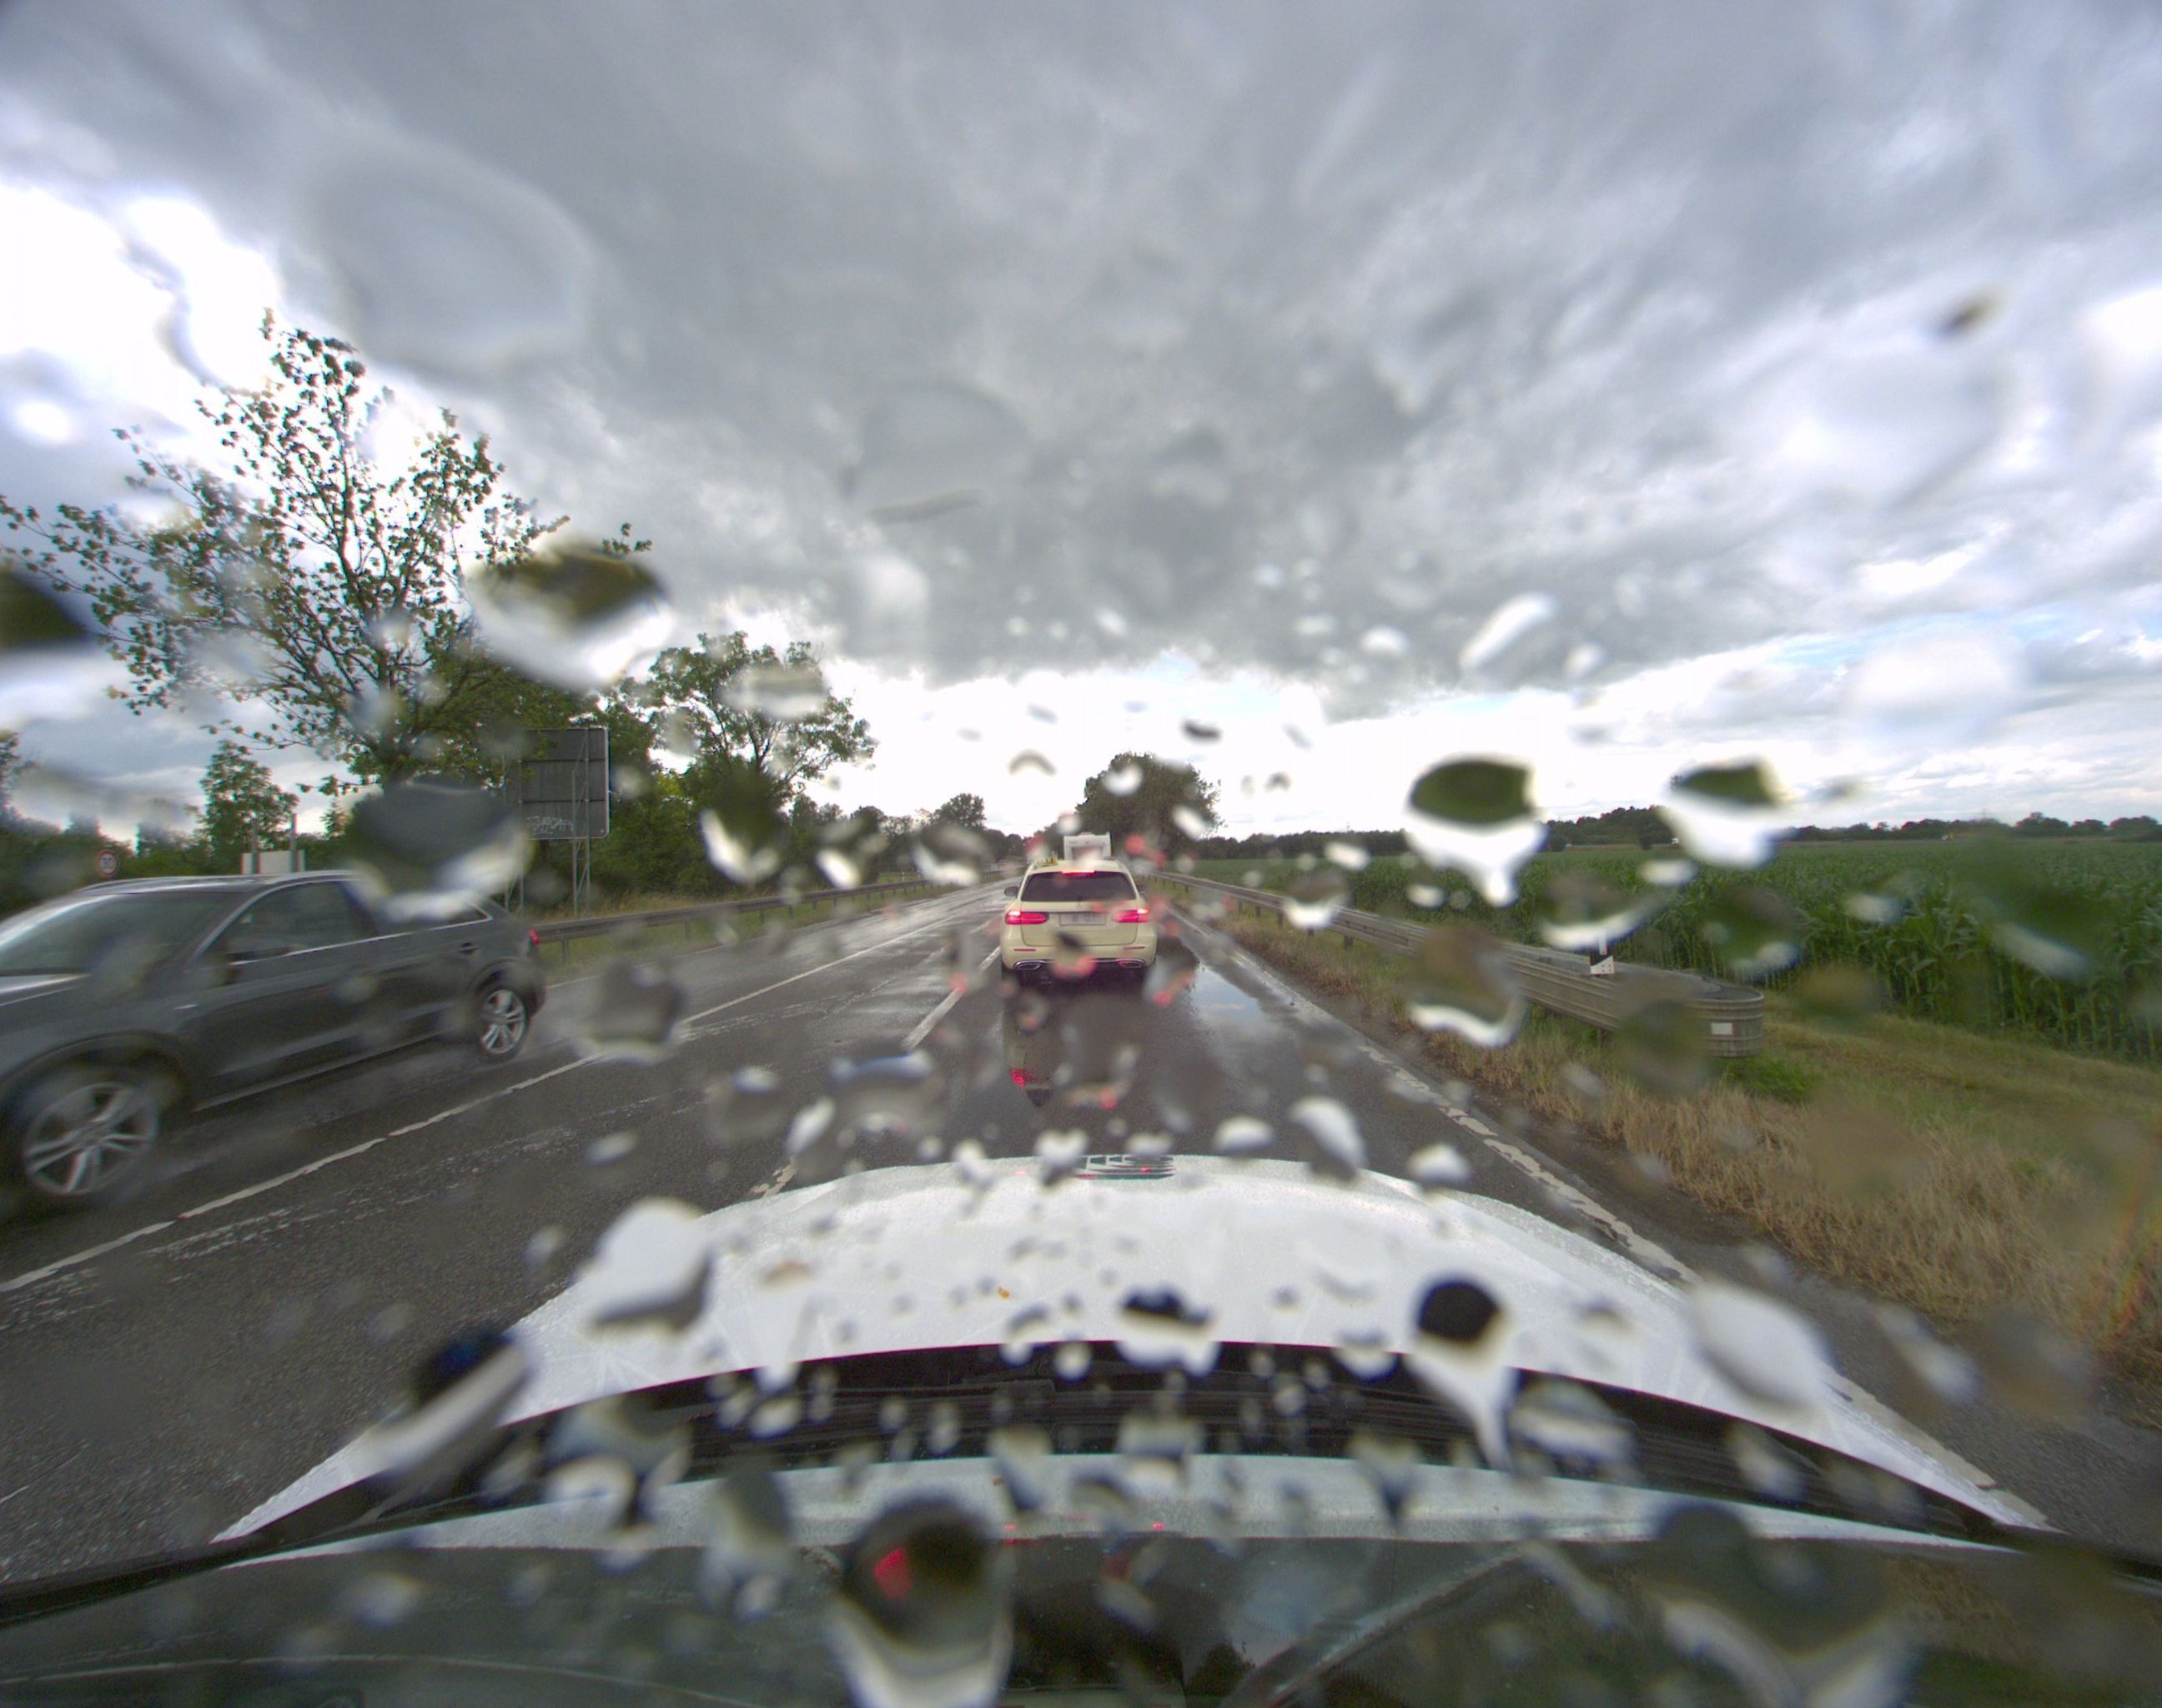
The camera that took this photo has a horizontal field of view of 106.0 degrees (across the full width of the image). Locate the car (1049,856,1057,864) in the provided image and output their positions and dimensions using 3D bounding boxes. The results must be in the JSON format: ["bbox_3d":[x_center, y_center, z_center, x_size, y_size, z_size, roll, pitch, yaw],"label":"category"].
[{"bbox_3d":[-7.012,1.481,204.312,1.988,2.014,3.997,-1,0,-1],"label":"car"}]

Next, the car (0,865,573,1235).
[{"bbox_3d":[-5.435,0.896,5.113,1.763,1.523,4.142,-3,0,1],"label":"car"}]

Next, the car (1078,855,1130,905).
[{"bbox_3d":[0.780,0.828,27.903,1.621,1.529,3.933,-2,0,1],"label":"car"}]

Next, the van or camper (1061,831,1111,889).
[{"bbox_3d":[0.289,0.280,41.814,2.342,2.680,5.769,-1,0,1],"label":"van or camper"}]

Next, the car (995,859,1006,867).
[{"bbox_3d":[-19.259,2.135,195.009,1.986,1.651,4.002,-1,0,2],"label":"car"}]

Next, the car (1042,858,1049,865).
[{"bbox_3d":[-10.373,2.282,239.756,1.990,2.013,3.994,-1,0,-4],"label":"car"}]

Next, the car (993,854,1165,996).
[{"bbox_3d":[0.054,0.770,10.783,1.818,1.485,4.147,-1,0,2],"label":"car"}]

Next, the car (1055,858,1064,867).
[{"bbox_3d":[-5.090,1.915,191.657,1.986,2.051,4.002,-1,0,2],"label":"car"}]
